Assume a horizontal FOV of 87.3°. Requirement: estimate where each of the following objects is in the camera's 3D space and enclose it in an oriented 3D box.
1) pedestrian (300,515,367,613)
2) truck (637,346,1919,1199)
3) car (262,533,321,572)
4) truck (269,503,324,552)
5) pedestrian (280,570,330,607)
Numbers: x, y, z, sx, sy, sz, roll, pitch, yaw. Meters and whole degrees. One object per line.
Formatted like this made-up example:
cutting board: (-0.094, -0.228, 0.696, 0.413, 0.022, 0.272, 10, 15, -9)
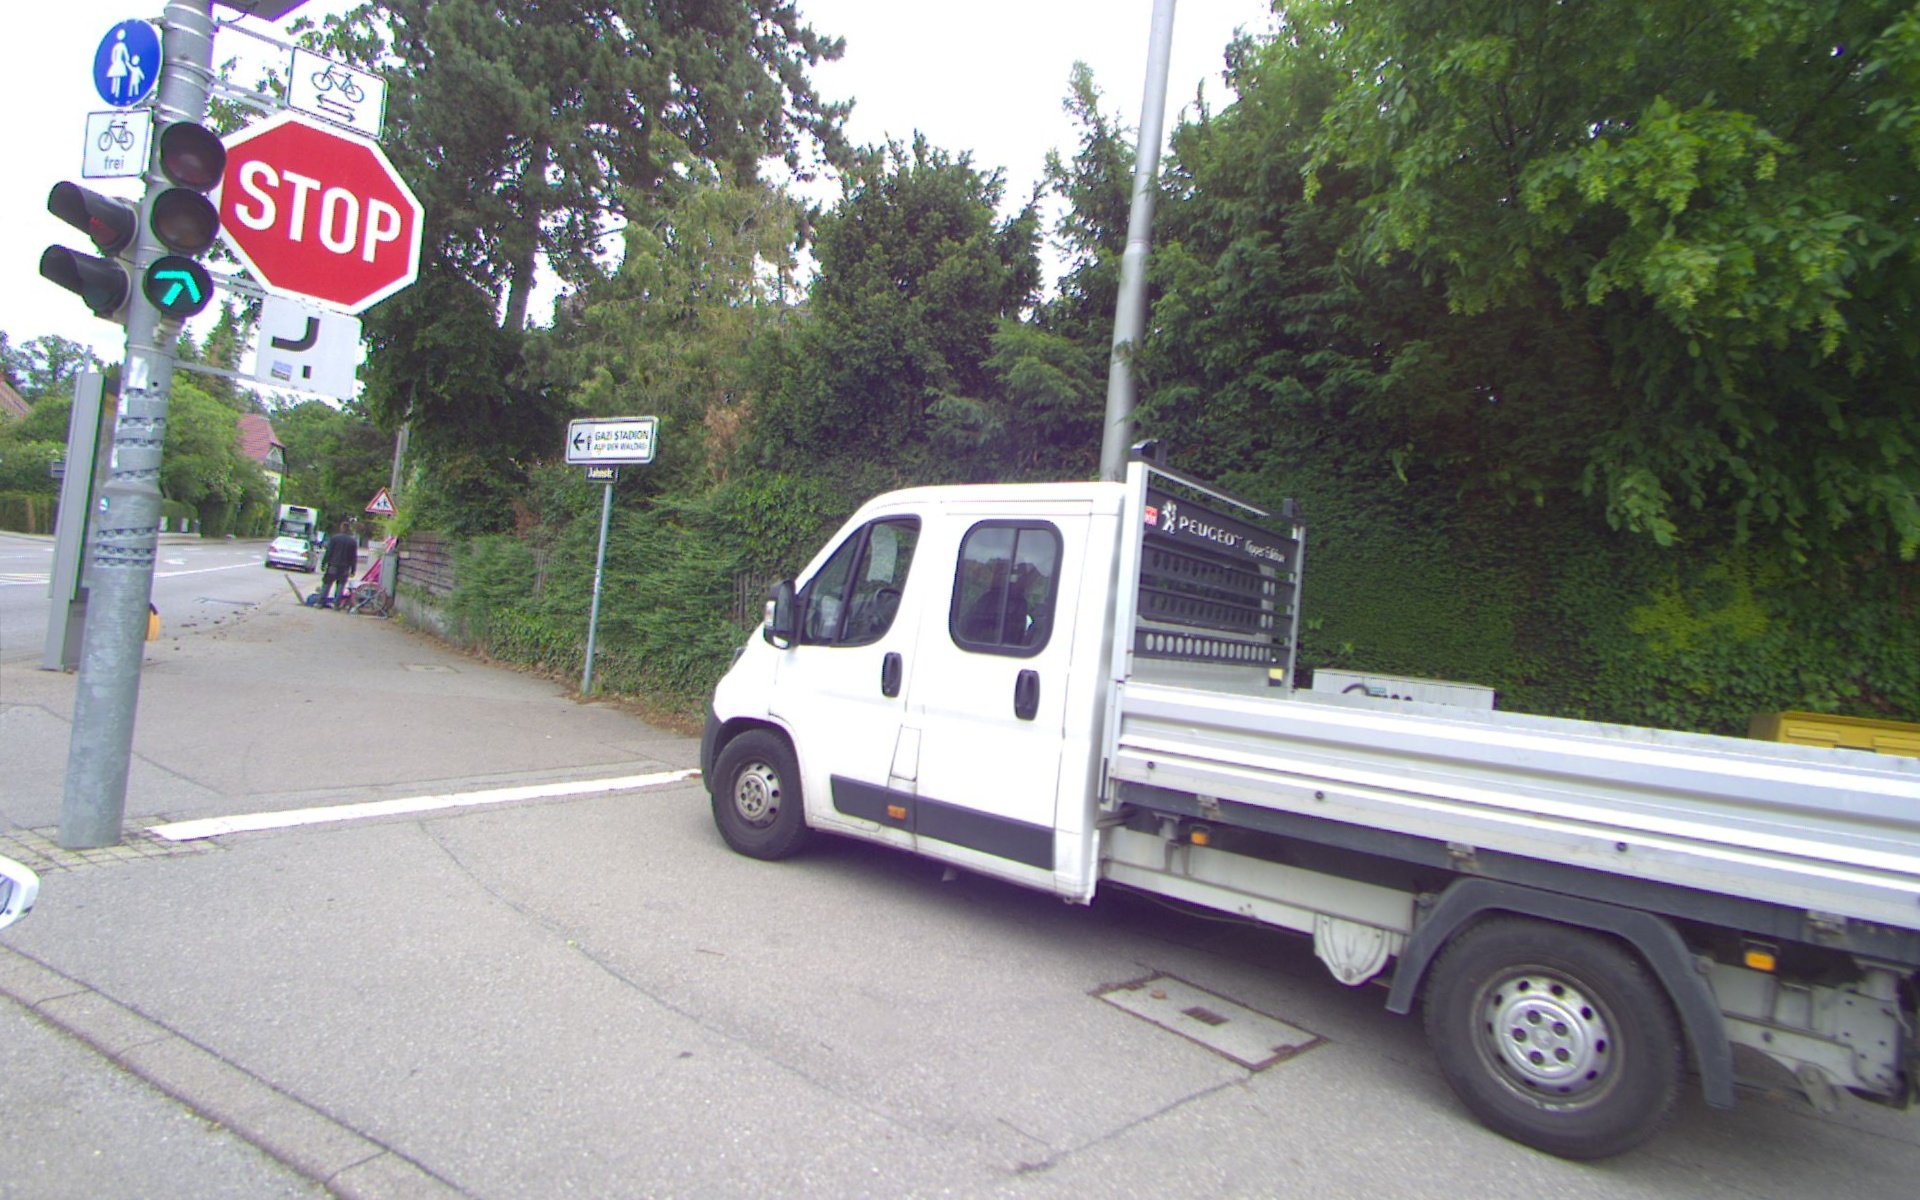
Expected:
pedestrian: (-13.432, -0.768, 21.576, 0.790, 1.947, 0.845, 7, 0, 40)
truck: (1.211, 0.470, 5.152, 6.101, 2.379, 2.395, 5, -2, 40)
car: (-29.785, -2.074, 44.912, 1.784, 1.431, 4.303, 7, -2, -30)
truck: (-55.680, -6.033, 84.332, 2.766, 3.502, 7.412, 7, -2, -40)
pedestrian: (-14.441, -0.244, 22.198, 0.574, 0.705, 0.647, 7, 0, 19)
